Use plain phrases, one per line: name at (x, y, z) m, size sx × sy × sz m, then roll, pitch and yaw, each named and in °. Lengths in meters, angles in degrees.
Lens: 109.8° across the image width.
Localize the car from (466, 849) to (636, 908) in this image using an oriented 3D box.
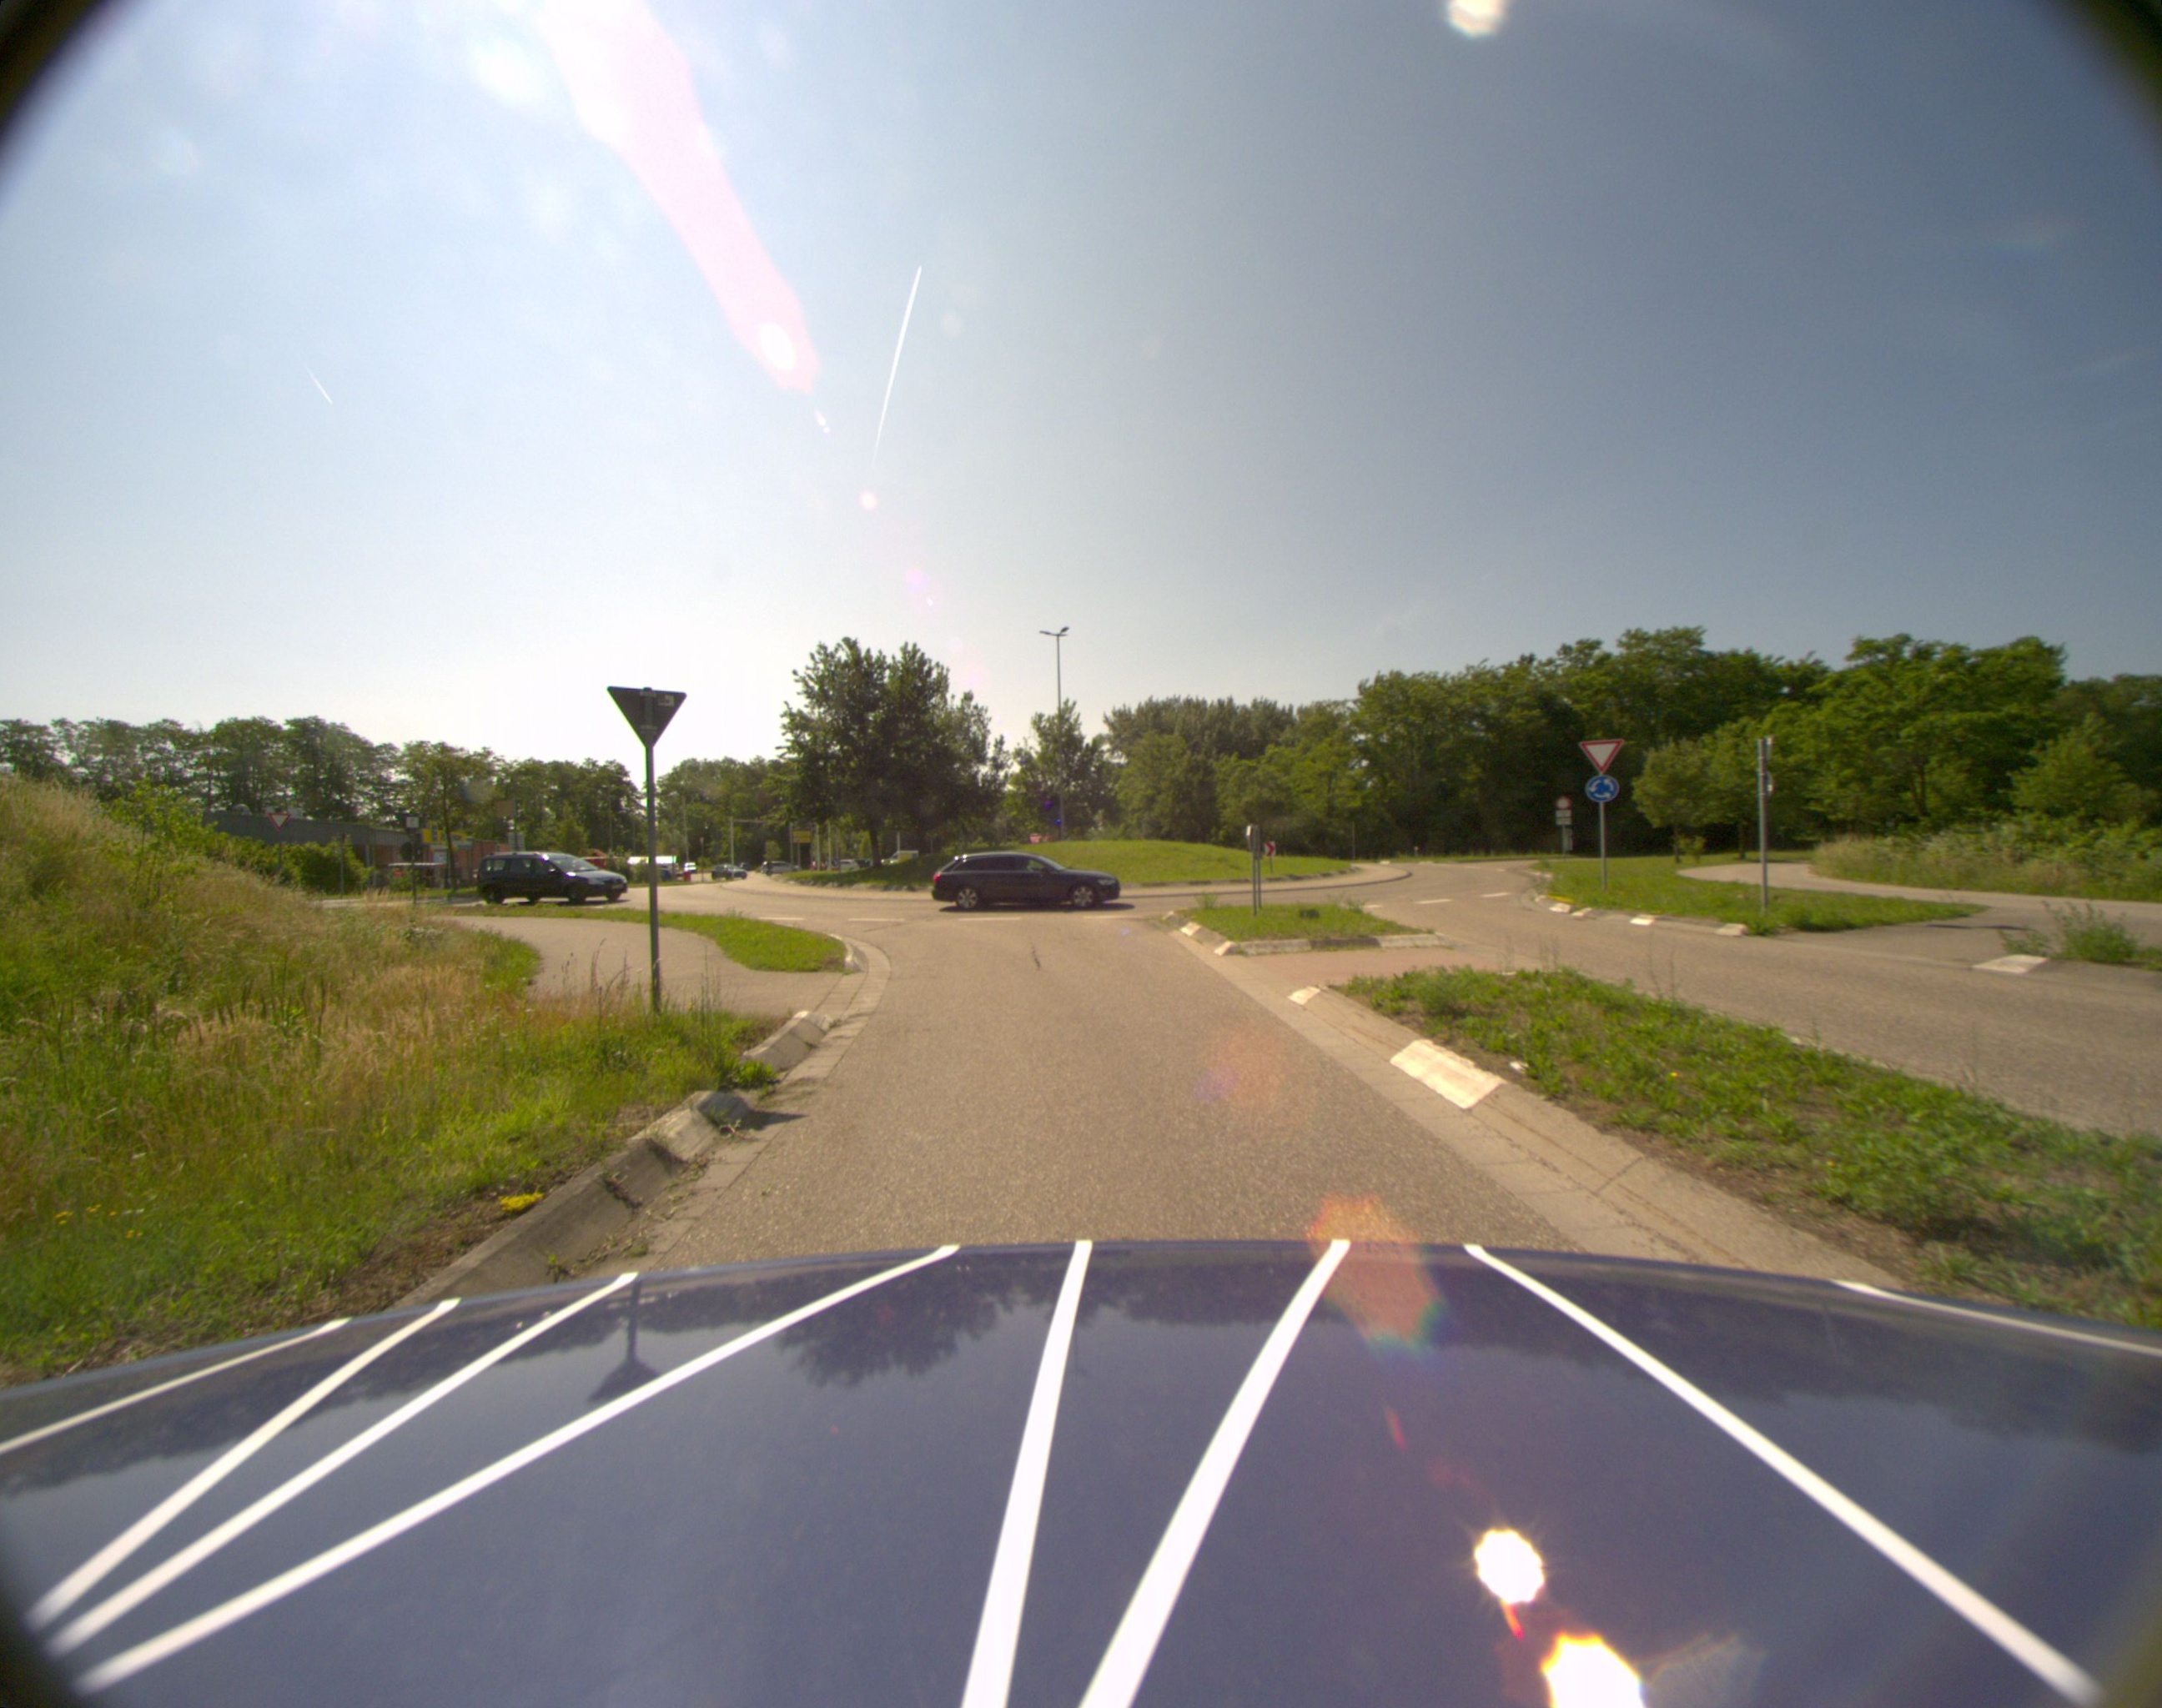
car at (-16.912, 0.758, 24.329) m, size 4.346 × 1.647 × 1.708 m, roll -1°, pitch 4°, yaw 8°

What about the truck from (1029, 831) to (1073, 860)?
truck at (-2.990, -0.912, 79.279) m, size 2.477 × 2.815 × 9.063 m, roll -2°, pitch 1°, yaw 11°

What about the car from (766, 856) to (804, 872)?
car at (-35.383, 1.230, 90.897) m, size 4.005 × 1.784 × 1.607 m, roll -2°, pitch 1°, yaw -26°

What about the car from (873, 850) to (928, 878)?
car at (-17.439, 0.982, 73.450) m, size 4.845 × 2.517 × 1.855 m, roll -2°, pitch 1°, yaw -3°

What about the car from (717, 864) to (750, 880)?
car at (-36.167, 1.865, 79.000) m, size 4.197 × 1.643 × 1.666 m, roll -1°, pitch 1°, yaw 45°

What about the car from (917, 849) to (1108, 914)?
car at (-1.698, 0.686, 19.894) m, size 4.674 × 1.482 × 1.814 m, roll -1°, pitch 3°, yaw 5°

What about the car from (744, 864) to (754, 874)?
car at (-55.456, 2.533, 126.856) m, size 1.517 × 1.618 × 3.669 m, roll -2°, pitch 1°, yaw -24°
